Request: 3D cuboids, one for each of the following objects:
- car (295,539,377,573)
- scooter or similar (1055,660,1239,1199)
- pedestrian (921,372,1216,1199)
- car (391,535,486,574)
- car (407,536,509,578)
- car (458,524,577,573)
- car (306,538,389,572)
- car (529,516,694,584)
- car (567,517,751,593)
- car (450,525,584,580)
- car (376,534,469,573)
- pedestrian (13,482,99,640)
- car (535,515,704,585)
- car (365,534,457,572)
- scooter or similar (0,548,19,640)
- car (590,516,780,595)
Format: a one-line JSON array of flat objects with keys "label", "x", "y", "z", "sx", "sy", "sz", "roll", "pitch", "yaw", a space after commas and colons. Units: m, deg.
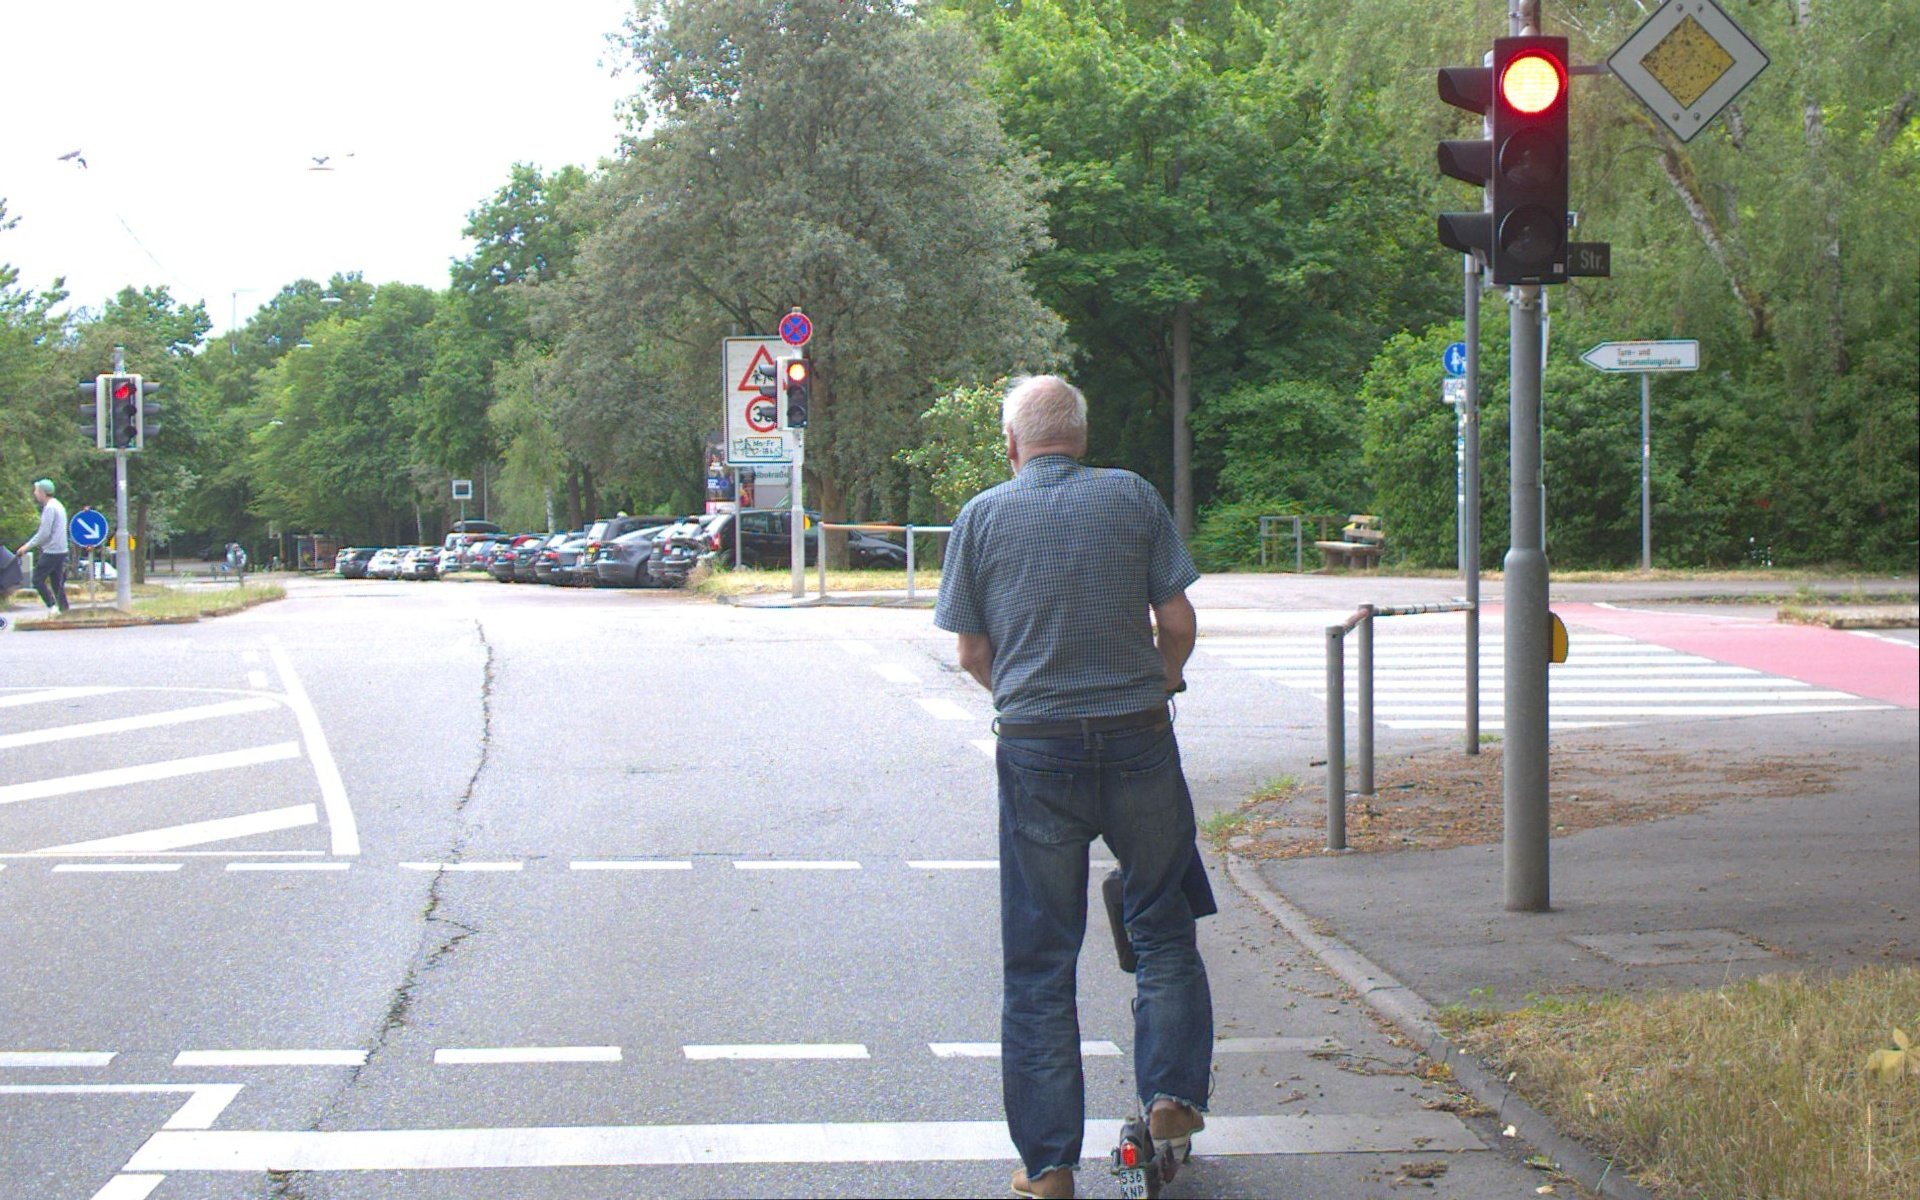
[{"label": "car", "x": -32.327, "y": -2.281, "z": 177.969, "sx": 3.840, "sy": 1.605, "sz": 1.729, "roll": -3, "pitch": 2, "yaw": -23}, {"label": "scooter or similar", "x": 0.418, "y": 0.744, "z": 7.389, "sx": 0.282, "sy": 1.174, "sz": 1.177, "roll": -1, "pitch": 1, "yaw": 8}, {"label": "pedestrian", "x": 0.247, "y": 0.418, "z": 7.557, "sx": 0.573, "sy": 1.807, "sz": 0.420, "roll": -1, "pitch": 1, "yaw": 8}, {"label": "car", "x": -23.354, "y": -2.031, "z": 154.066, "sx": 3.840, "sy": 1.605, "sz": 1.729, "roll": -3, "pitch": 2, "yaw": -23}, {"label": "car", "x": -20.834, "y": -1.806, "z": 142.762, "sx": 3.840, "sy": 1.605, "sz": 1.729, "roll": -3, "pitch": 2, "yaw": -23}, {"label": "car", "x": -15.686, "y": -1.833, "z": 121.885, "sx": 3.840, "sy": 1.605, "sz": 1.729, "roll": -3, "pitch": 2, "yaw": -23}, {"label": "car", "x": -31.305, "y": -2.308, "z": 175.630, "sx": 3.840, "sy": 1.605, "sz": 1.729, "roll": -3, "pitch": 2, "yaw": -23}, {"label": "car", "x": -9.029, "y": -1.312, "z": 89.054, "sx": 3.840, "sy": 1.605, "sz": 1.729, "roll": -3, "pitch": 2, "yaw": -23}, {"label": "car", "x": -6.941, "y": -1.054, "z": 79.294, "sx": 3.840, "sy": 1.605, "sz": 1.729, "roll": -3, "pitch": 2, "yaw": -23}, {"label": "car", "x": -14.041, "y": -1.522, "z": 108.918, "sx": 3.840, "sy": 1.605, "sz": 1.729, "roll": -3, "pitch": 2, "yaw": -23}, {"label": "car", "x": -24.428, "y": -2.129, "z": 156.198, "sx": 3.840, "sy": 1.605, "sz": 1.729, "roll": -3, "pitch": 2, "yaw": -23}, {"label": "pedestrian", "x": -10.778, "y": -0.468, "z": 41.014, "sx": 0.884, "sy": 1.856, "sz": 0.574, "roll": -1, "pitch": 1, "yaw": -8}, {"label": "car", "x": -8.590, "y": -1.266, "z": 86.642, "sx": 3.840, "sy": 1.605, "sz": 1.729, "roll": -3, "pitch": 2, "yaw": -23}, {"label": "car", "x": -25.370, "y": -2.189, "z": 158.768, "sx": 3.840, "sy": 1.605, "sz": 1.729, "roll": -3, "pitch": 2, "yaw": -23}, {"label": "scooter or similar", "x": -11.766, "y": -0.067, "z": 40.784, "sx": 1.107, "sy": 1.077, "sz": 0.578, "roll": -2, "pitch": 1, "yaw": -19}, {"label": "car", "x": -6.140, "y": -1.002, "z": 76.753, "sx": 3.841, "sy": 1.605, "sz": 1.728, "roll": -3, "pitch": 2, "yaw": -24}]
